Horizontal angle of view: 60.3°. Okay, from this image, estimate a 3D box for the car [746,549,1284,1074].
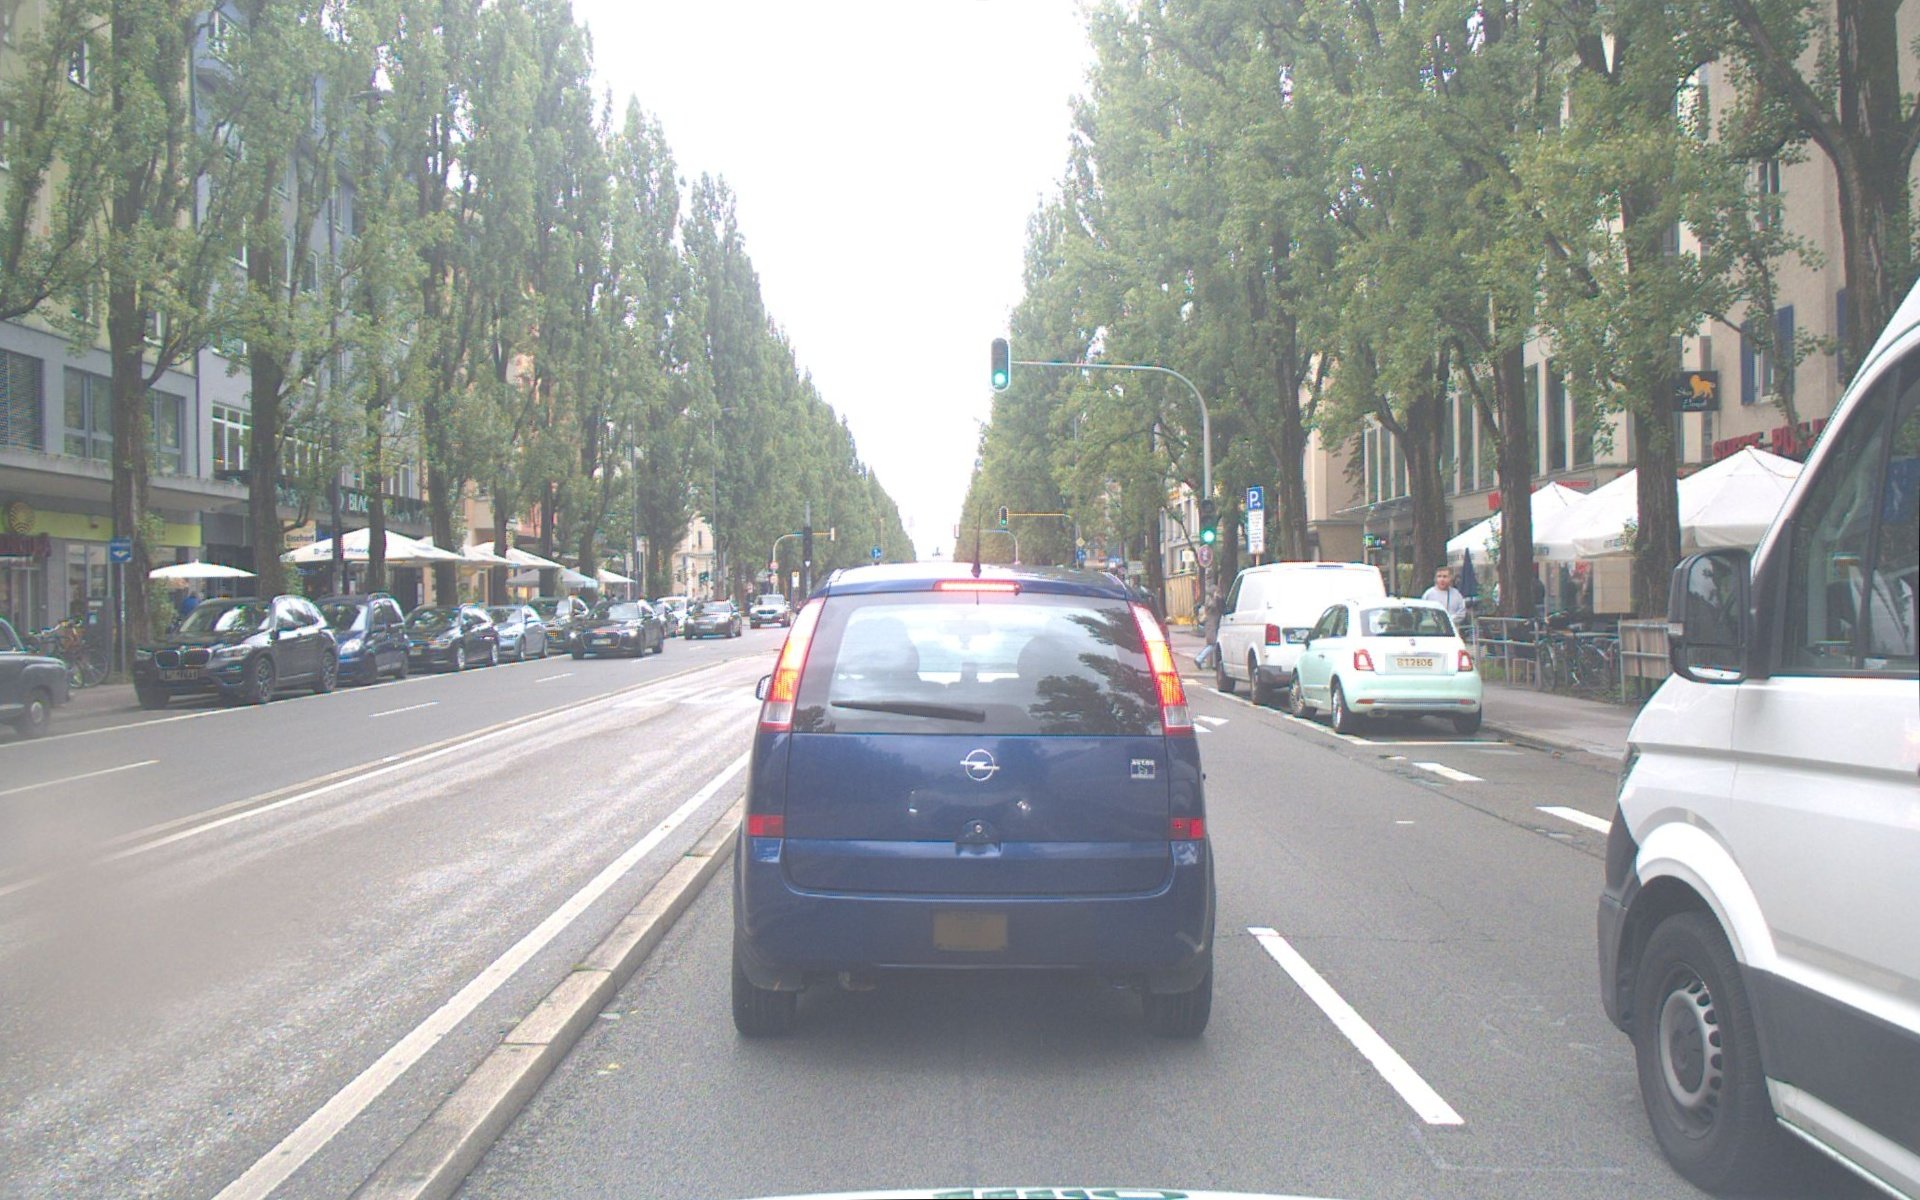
[{"bbox_3d":[0.151,0.635,7.045,1.637,1.596,3.999,0,0,-1],"label":"car"}]

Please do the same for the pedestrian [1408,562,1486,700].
[{"bbox_3d":[6.484,0.406,22.057,0.810,1.804,0.871,-1,0,5],"label":"pedestrian"}]

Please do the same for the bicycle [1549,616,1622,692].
[{"bbox_3d":[8.784,0.743,23.270,0.342,1.013,1.453,-2,0,-4],"label":"bicycle"}]

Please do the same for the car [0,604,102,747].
[{"bbox_3d":[-11.669,0.887,18.512,1.828,1.579,4.413,-2,0,-1],"label":"car"}]

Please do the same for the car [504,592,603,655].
[{"bbox_3d":[-11.906,0.652,48.714,1.828,1.694,4.400,-2,0,-1],"label":"car"}]

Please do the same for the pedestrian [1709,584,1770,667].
[{"bbox_3d":[13.026,0.418,27.652,0.625,1.347,0.800,-1,0,-1],"label":"pedestrian"}]

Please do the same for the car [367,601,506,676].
[{"bbox_3d":[-11.787,0.825,37.513,1.762,1.514,4.349,-2,0,-1],"label":"car"}]

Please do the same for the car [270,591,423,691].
[{"bbox_3d":[-11.871,0.739,32.243,1.676,1.751,3.919,-2,0,-4],"label":"car"}]

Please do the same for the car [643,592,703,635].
[{"bbox_3d":[-12.243,0.565,70.796,1.828,1.694,4.119,-2,0,-1],"label":"car"}]

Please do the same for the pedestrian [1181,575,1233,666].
[{"bbox_3d":[4.714,0.378,31.590,0.843,1.714,0.626,-1,0,-4],"label":"pedestrian"}]

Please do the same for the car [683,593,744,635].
[{"bbox_3d":[-9.337,0.509,62.938,1.710,1.459,4.129,-2,0,-1],"label":"car"}]

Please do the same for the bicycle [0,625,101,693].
[{"bbox_3d":[-16.112,1.018,28.767,1.909,1.114,0.718,2,0,-7],"label":"bicycle"}]

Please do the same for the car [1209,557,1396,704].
[{"bbox_3d":[4.983,0.393,24.716,1.751,1.980,4.729,0,0,-1],"label":"car"}]

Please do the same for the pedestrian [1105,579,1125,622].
[{"bbox_3d":[6.820,0.039,72.753,0.625,1.859,0.885,1,-1,-11],"label":"pedestrian"}]

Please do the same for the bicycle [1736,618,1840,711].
[{"bbox_3d":[9.555,0.727,19.136,0.342,1.013,1.453,-2,0,-4],"label":"bicycle"}]

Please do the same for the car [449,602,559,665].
[{"bbox_3d":[-11.802,0.835,43.065,1.698,1.450,4.142,-2,0,-1],"label":"car"}]

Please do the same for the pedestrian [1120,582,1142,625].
[{"bbox_3d":[7.545,0.165,72.937,0.707,1.859,0.885,1,-1,-11],"label":"pedestrian"}]

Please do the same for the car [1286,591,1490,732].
[{"bbox_3d":[4.960,0.662,19.588,1.509,1.518,3.523,0,0,0],"label":"car"}]

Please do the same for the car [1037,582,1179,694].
[{"bbox_3d":[2.276,0.549,26.355,1.858,1.650,3.999,0,0,-1],"label":"car"}]

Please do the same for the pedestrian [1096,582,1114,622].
[{"bbox_3d":[6.746,0.103,76.995,0.625,1.859,0.885,1,-1,-11],"label":"pedestrian"}]

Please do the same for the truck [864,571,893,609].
[{"bbox_3d":[-7.590,-0.915,154.582,2.334,3.405,7.109,-1,0,-1],"label":"truck"}]

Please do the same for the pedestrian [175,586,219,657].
[{"bbox_3d":[-18.742,0.525,40.645,0.740,1.715,0.675,-1,-1,0],"label":"pedestrian"}]

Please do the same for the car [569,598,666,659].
[{"bbox_3d":[-9.179,0.723,44.667,1.663,1.488,4.712,-2,0,-1],"label":"car"}]

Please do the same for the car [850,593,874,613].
[{"bbox_3d":[-7.388,0.198,124.889,1.699,1.491,3.364,-1,0,-1],"label":"car"}]

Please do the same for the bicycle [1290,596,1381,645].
[{"bbox_3d":[9.699,0.521,42.715,2.182,1.225,0.626,-1,0,-3],"label":"bicycle"}]

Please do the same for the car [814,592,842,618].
[{"bbox_3d":[-10.496,0.404,132.034,1.953,2.049,3.999,-1,0,-1],"label":"car"}]

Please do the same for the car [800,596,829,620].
[{"bbox_3d":[-10.623,0.581,120.777,1.828,1.695,4.119,-1,0,-1],"label":"car"}]

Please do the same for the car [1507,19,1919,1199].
[{"bbox_3d":[2.761,0.223,1.851,2.021,2.536,6.729,0,0,-1],"label":"car"}]

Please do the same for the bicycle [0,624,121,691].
[{"bbox_3d":[-16.185,1.025,29.596,1.909,1.114,0.718,2,0,-7],"label":"bicycle"}]

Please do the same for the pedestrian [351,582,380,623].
[{"bbox_3d":[-20.838,0.087,57.938,0.750,1.434,0.799,1,-1,-6],"label":"pedestrian"}]

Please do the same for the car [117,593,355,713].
[{"bbox_3d":[-11.580,0.781,26.822,1.828,1.693,4.610,-2,0,-1],"label":"car"}]

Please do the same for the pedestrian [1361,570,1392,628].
[{"bbox_3d":[12.431,-0.027,49.348,0.660,1.715,0.758,-1,-1,-5],"label":"pedestrian"}]

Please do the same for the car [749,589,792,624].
[{"bbox_3d":[-9.510,0.297,83.207,1.735,1.663,4.454,-2,0,-2],"label":"car"}]

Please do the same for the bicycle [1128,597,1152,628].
[{"bbox_3d":[8.176,0.553,75.371,0.757,1.372,2.449,-1,0,-1],"label":"bicycle"}]
